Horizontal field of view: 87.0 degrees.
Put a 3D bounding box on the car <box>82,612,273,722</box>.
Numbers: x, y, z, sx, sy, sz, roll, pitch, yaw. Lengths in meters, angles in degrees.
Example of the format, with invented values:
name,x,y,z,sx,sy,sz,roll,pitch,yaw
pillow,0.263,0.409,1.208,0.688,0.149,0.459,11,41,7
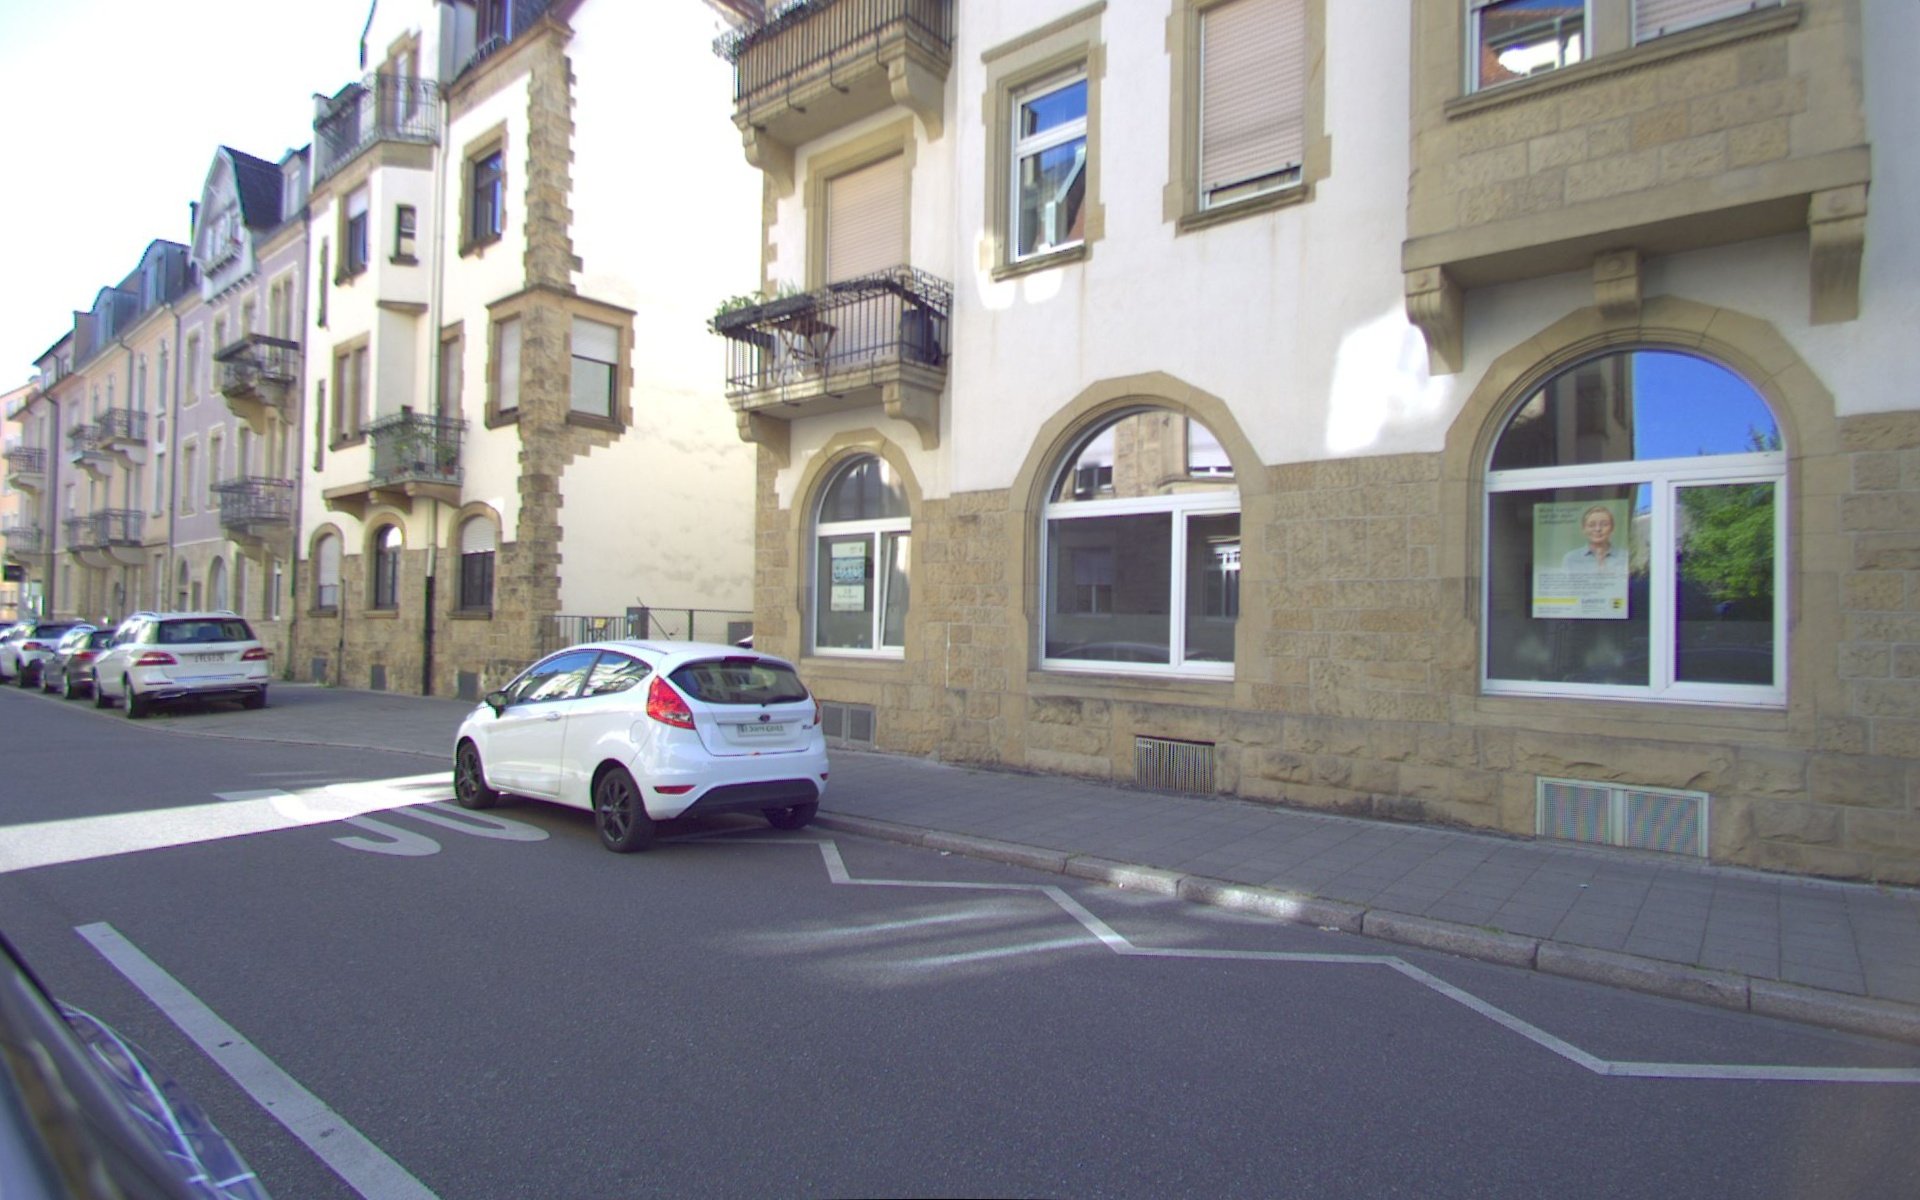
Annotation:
name,x,y,z,sx,sy,sz,roll,pitch,yaw
car,-14.129,1.109,18.165,4.724,1.735,1.872,-1,-2,42

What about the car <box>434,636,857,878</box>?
name,x,y,z,sx,sy,sz,roll,pitch,yaw
car,-2.689,1.049,8.222,3.734,1.475,1.616,-1,-2,43

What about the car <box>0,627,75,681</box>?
name,x,y,z,sx,sy,sz,roll,pitch,yaw
car,-26.867,1.504,28.855,3.658,1.404,1.658,-1,1,36

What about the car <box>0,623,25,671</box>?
name,x,y,z,sx,sy,sz,roll,pitch,yaw
car,-33.058,1.569,34.118,3.719,1.550,1.698,-1,-2,38

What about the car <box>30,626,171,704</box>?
name,x,y,z,sx,sy,sz,roll,pitch,yaw
car,-18.572,1.331,21.800,4.275,1.498,1.558,-1,-1,39

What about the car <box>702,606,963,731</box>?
name,x,y,z,sx,sy,sz,roll,pitch,yaw
car,-1.934,1.052,16.318,1.908,1.741,3.928,-2,-3,40

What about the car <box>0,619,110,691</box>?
name,x,y,z,sx,sy,sz,roll,pitch,yaw
car,-22.858,1.326,25.267,4.015,1.595,1.698,-1,1,38
